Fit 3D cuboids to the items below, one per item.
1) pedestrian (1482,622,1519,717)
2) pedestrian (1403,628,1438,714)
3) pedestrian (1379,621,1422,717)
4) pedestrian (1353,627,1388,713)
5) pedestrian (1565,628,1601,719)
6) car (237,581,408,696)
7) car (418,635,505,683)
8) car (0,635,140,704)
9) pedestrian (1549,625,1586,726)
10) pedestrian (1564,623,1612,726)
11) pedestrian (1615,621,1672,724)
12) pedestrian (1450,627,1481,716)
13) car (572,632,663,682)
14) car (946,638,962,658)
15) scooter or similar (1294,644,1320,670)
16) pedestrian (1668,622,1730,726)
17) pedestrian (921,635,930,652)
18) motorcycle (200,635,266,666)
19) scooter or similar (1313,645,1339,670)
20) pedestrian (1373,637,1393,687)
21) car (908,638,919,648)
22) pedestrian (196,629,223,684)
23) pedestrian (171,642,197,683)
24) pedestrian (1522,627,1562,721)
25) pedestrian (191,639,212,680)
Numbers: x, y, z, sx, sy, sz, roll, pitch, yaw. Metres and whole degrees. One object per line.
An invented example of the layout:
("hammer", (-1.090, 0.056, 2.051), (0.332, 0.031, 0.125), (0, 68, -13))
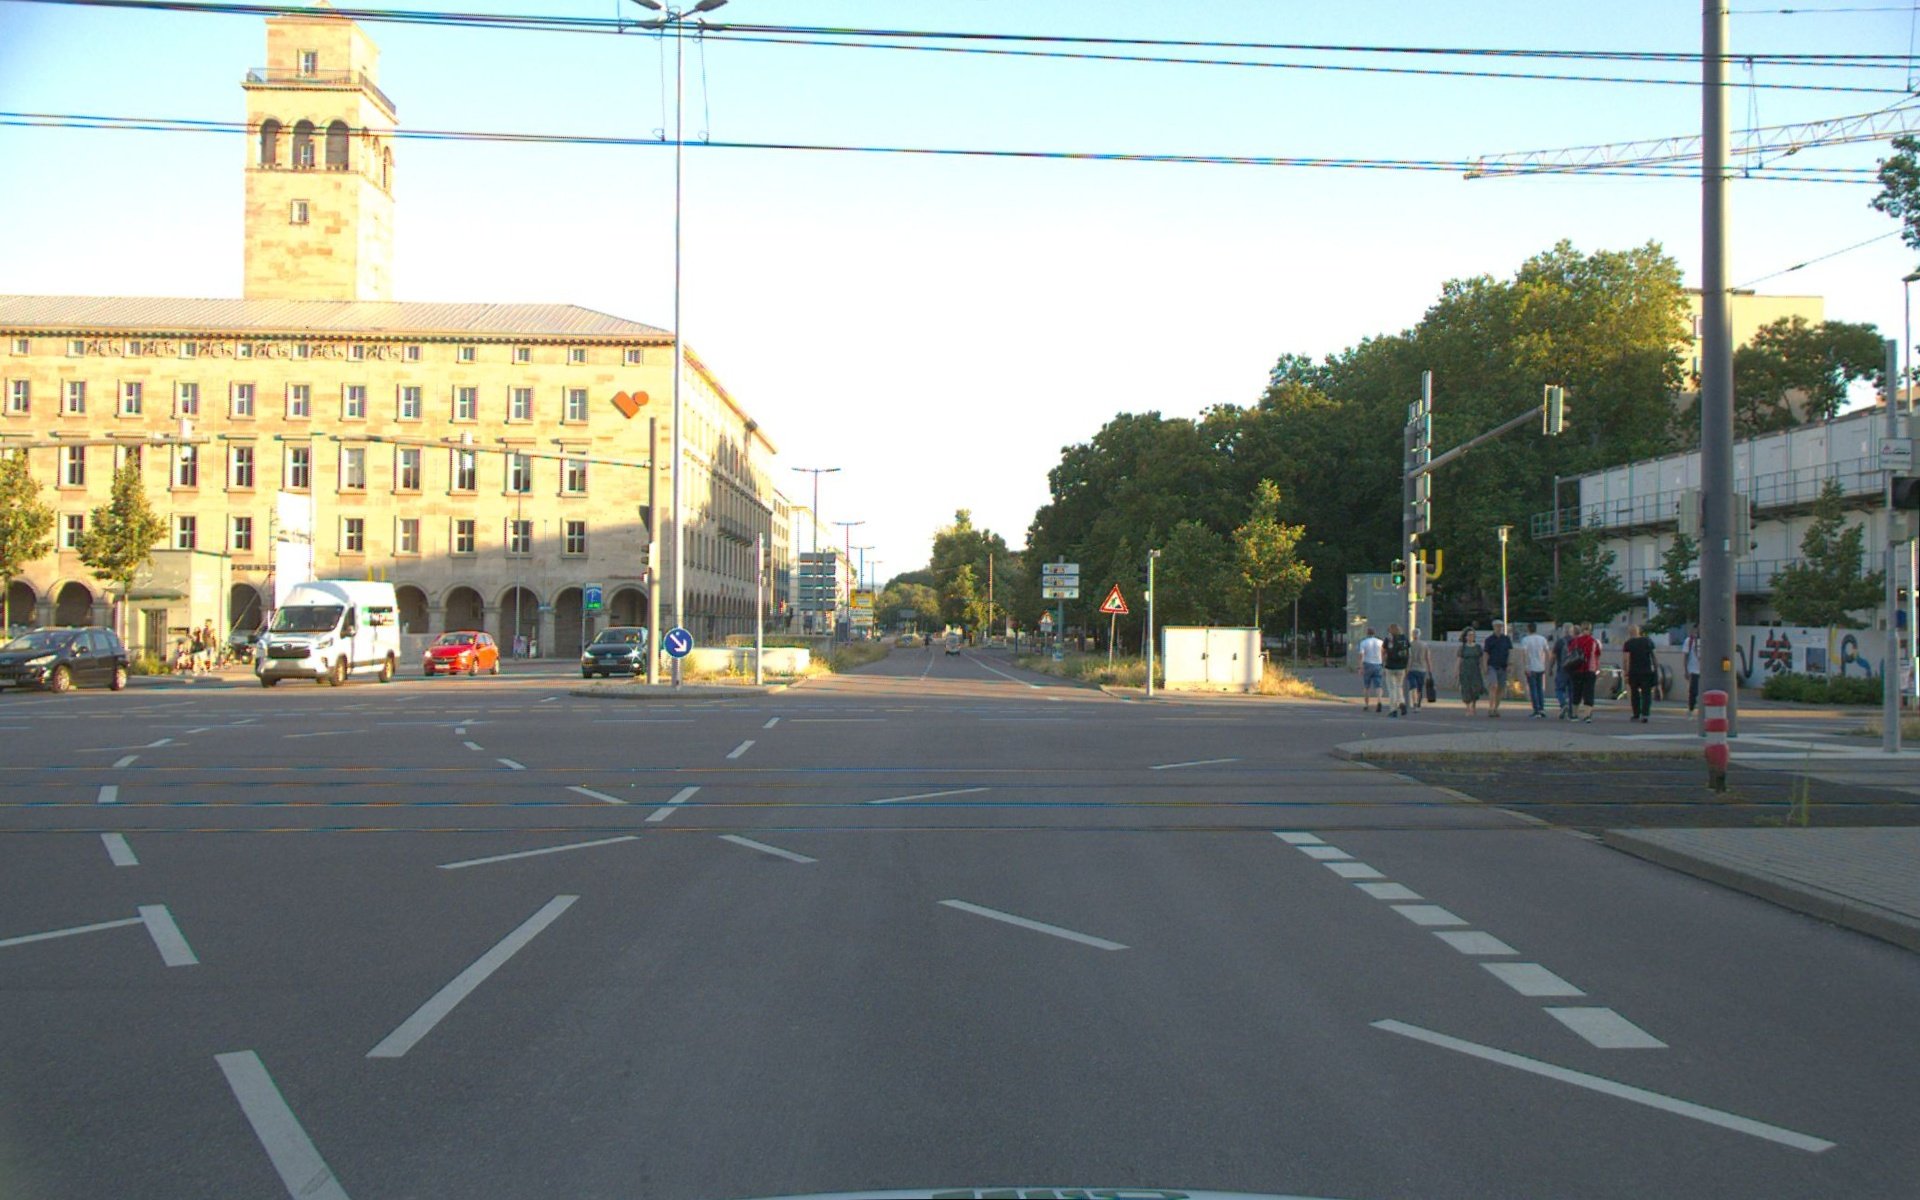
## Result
("pedestrian", (10.389, 1.312, 31.806), (0.665, 1.788, 0.902), (0, -1, 19))
("pedestrian", (9.565, 1.471, 34.333), (0.696, 1.755, 0.669), (0, -1, 16))
("pedestrian", (8.206, 1.271, 30.836), (0.695, 1.755, 0.915), (0, -1, 9))
("pedestrian", (8.541, 1.443, 34.437), (0.696, 1.755, 0.669), (0, -1, 15))
("pedestrian", (11.852, 1.393, 31.468), (0.560, 1.708, 0.639), (0, -1, 12))
("car", (-16.687, 0.999, 43.733), (2.233, 2.825, 6.081), (0, -1, -1))
("car", (-16.781, 1.966, 55.837), (1.703, 1.513, 4.000), (0, -1, 0))
("car", (-21.398, 1.610, 39.377), (1.786, 1.492, 4.156), (0, -1, -2))
("pedestrian", (11.158, 1.379, 30.403), (0.560, 1.823, 0.639), (0, -1, 12))
("pedestrian", (11.014, 1.295, 29.021), (0.688, 1.765, 0.848), (0, -1, 14))
("pedestrian", (12.287, 1.292, 29.757), (0.788, 1.823, 0.801), (0, -1, 11))
("pedestrian", (9.796, 1.370, 32.041), (0.548, 1.684, 0.902), (0, -1, 19))
("car", (-9.889, 1.625, 48.044), (1.785, 1.365, 4.000), (0, -1, 0))
("car", (-0.554, 4.329, 148.610), (1.453, 1.726, 2.973), (0, -1, -1))
("scooter or similar", (17.396, 2.843, 82.978), (0.558, 1.224, 2.982), (0, -1, -2))
("pedestrian", (13.155, 1.308, 29.460), (0.788, 1.823, 0.801), (0, -1, 6))
("pedestrian", (-3.499, 4.482, 170.056), (0.888, 1.700, 1.306), (0, -1, -3))
("motorcycle", (-29.247, 2.025, 66.552), (2.266, 1.217, 0.824), (0, -1, -9))
("scooter or similar", (18.395, 2.878, 83.209), (0.558, 1.224, 2.982), (0, -1, -2))
("pedestrian", (16.235, 2.373, 63.505), (0.652, 1.875, 0.713), (0, -1, 4))
("car", (-5.955, 5.434, 210.618), (1.341, 1.256, 3.045), (0, -1, 0))
("pedestrian", (-24.699, 1.863, 54.430), (0.609, 1.774, 0.459), (2, -2, -7))
("pedestrian", (-25.379, 2.049, 54.086), (0.496, 1.323, 0.700), (2, -2, -7))
("pedestrian", (11.085, 1.395, 31.536), (0.696, 1.755, 0.915), (0, -1, 18))
("pedestrian", (-24.563, 1.932, 53.566), (0.412, 1.323, 0.459), (2, -2, -7))
